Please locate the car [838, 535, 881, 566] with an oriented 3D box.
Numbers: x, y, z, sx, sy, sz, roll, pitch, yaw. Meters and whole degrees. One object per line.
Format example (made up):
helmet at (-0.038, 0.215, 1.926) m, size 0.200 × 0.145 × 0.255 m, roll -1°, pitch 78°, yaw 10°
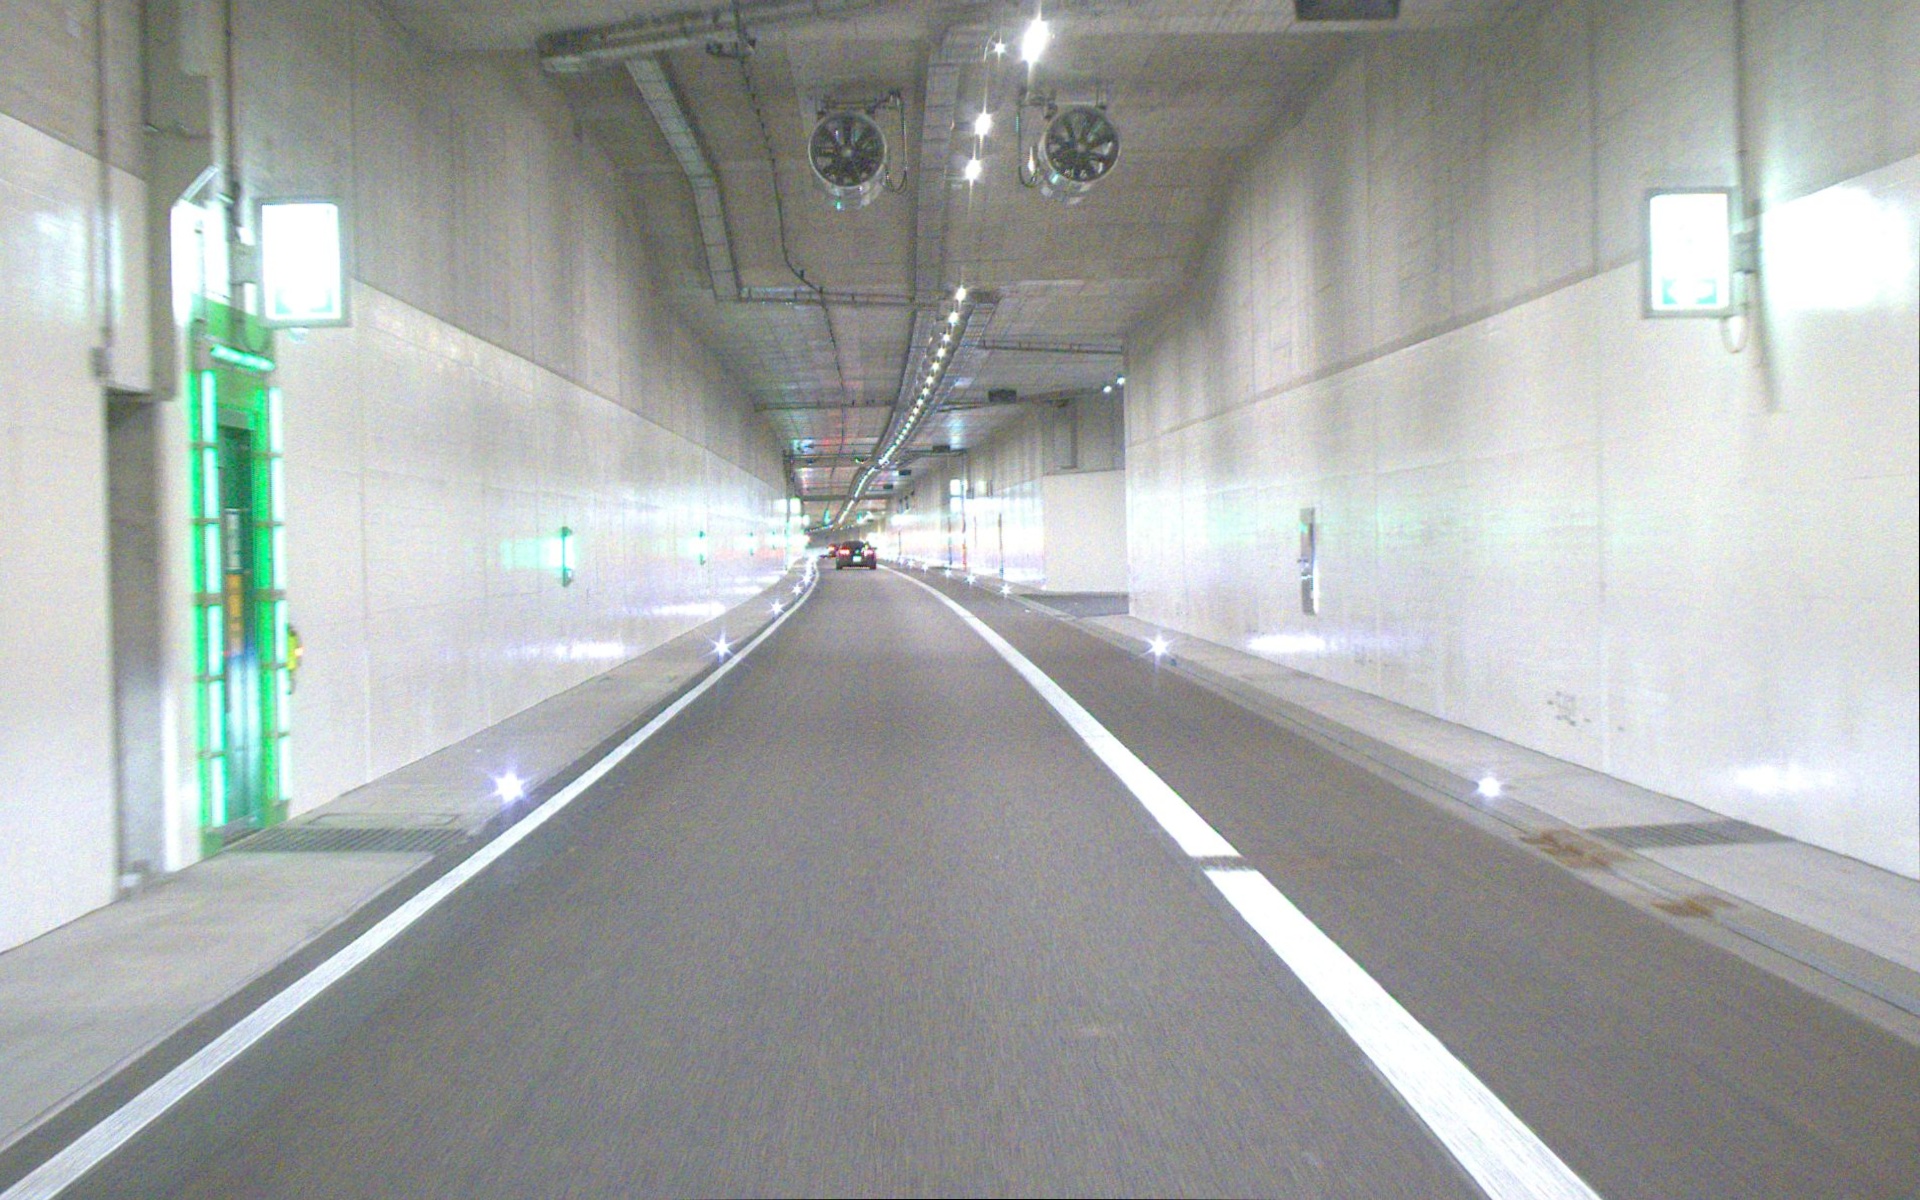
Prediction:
car at (-4.766, -2.339, 162.594) m, size 1.993 × 1.415 × 4.001 m, roll 1°, pitch 1°, yaw -3°
